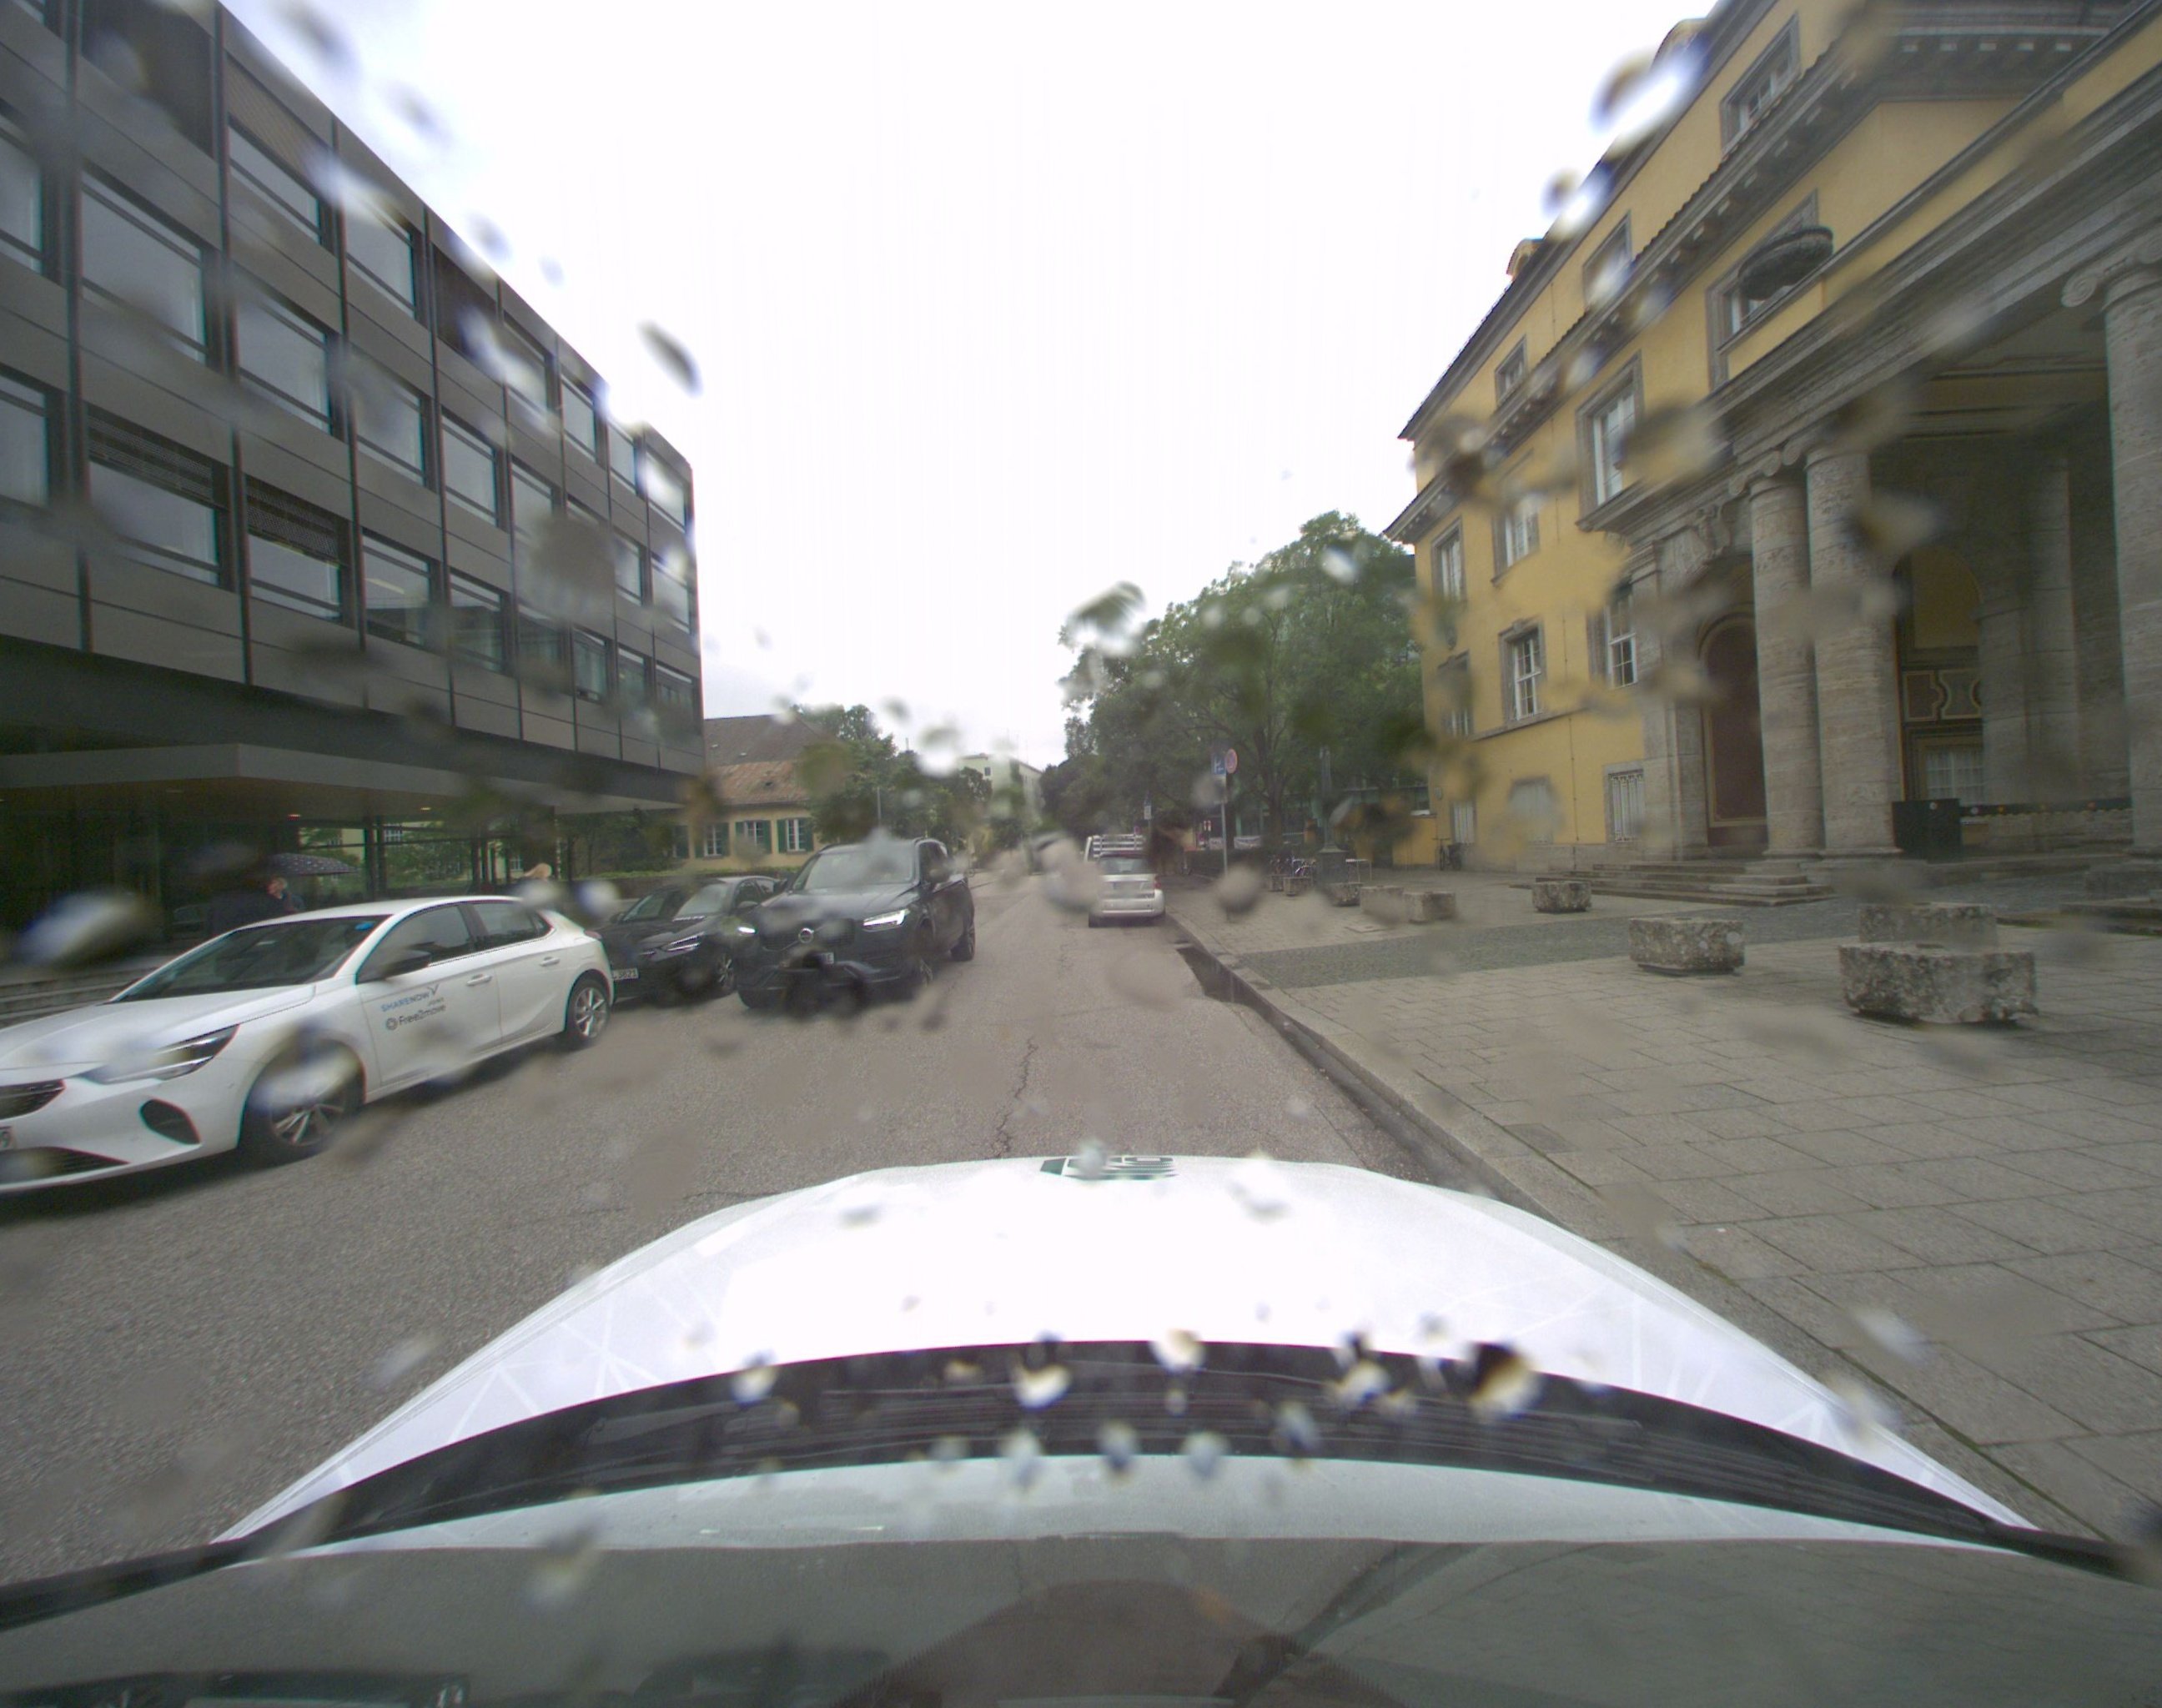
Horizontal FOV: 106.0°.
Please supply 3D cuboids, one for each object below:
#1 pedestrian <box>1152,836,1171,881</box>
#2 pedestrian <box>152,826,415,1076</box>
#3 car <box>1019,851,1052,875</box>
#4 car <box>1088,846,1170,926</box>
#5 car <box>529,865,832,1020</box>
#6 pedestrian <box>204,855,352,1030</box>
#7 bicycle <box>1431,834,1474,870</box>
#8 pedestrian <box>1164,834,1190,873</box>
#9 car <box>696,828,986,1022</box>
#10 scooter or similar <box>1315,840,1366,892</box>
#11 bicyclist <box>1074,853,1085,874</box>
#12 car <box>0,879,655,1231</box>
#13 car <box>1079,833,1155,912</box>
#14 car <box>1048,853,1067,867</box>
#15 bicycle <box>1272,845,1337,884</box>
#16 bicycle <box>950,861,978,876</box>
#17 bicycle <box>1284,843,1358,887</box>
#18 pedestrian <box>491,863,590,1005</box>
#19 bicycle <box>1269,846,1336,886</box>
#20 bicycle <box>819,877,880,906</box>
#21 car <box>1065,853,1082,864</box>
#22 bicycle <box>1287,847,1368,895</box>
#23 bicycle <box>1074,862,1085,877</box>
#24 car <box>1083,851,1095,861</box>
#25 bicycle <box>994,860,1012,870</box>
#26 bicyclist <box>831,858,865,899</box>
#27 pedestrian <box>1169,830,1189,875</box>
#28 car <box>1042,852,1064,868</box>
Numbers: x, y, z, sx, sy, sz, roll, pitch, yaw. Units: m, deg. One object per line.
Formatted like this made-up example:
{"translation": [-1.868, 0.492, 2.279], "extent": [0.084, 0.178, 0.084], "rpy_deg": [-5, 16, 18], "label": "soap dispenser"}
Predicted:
{"translation": [4.008, 0.222, 40.576], "extent": [0.740, 2.134, 1.056], "rpy_deg": [-4, 0, 0], "label": "pedestrian"}
{"translation": [-7.155, 0.807, 7.406], "extent": [1.131, 2.054, 1.221], "rpy_deg": [-2, 0, 0], "label": "pedestrian"}
{"translation": [-3.493, 0.653, 62.878], "extent": [2.017, 1.689, 4.679], "rpy_deg": [-4, 0, 2], "label": "car"}
{"translation": [0.973, 0.628, 17.617], "extent": [1.600, 1.546, 2.934], "rpy_deg": [-1, 0, 1], "label": "car"}
{"translation": [-5.012, 0.993, 10.978], "extent": [1.733, 1.461, 4.239], "rpy_deg": [-5, 0, 2], "label": "car"}
{"translation": [-8.521, 0.902, 8.685], "extent": [0.687, 1.752, 0.892], "rpy_deg": [-1, -1, -4], "label": "pedestrian"}
{"translation": [12.646, -0.079, 27.757], "extent": [0.540, 1.154, 1.901], "rpy_deg": [-4, 1, 0], "label": "bicycle"}
{"translation": [4.901, -0.011, 41.498], "extent": [0.735, 1.907, 1.063], "rpy_deg": [-4, 0, 36], "label": "pedestrian"}
{"translation": [-2.578, 0.668, 10.221], "extent": [1.953, 1.681, 4.912], "rpy_deg": [-5, 0, 1], "label": "car"}
{"translation": [6.429, 0.296, 20.175], "extent": [0.541, 1.222, 0.999], "rpy_deg": [-4, 0, -45], "label": "scooter or similar"}
{"translation": [-0.113, 0.624, 53.949], "extent": [0.702, 1.393, 0.868], "rpy_deg": [0, -1, 2], "label": "bicyclist"}
{"translation": [-5.173, 1.051, 5.942], "extent": [1.676, 1.440, 4.280], "rpy_deg": [-6, 0, 1], "label": "car"}
{"translation": [0.888, 0.451, 22.717], "extent": [1.839, 1.933, 5.271], "rpy_deg": [0, 0, 0], "label": "car"}
{"translation": [-2.780, 0.744, 98.147], "extent": [1.986, 1.603, 4.002], "rpy_deg": [-3, -1, 2], "label": "car"}
{"translation": [7.261, 0.343, 26.518], "extent": [1.924, 1.113, 0.471], "rpy_deg": [-4, 0, 2], "label": "bicycle"}
{"translation": [-8.780, 1.113, 61.094], "extent": [1.922, 1.099, 0.615], "rpy_deg": [-1, 0, 3], "label": "bicycle"}
{"translation": [6.890, 0.301, 23.416], "extent": [1.924, 1.113, 0.471], "rpy_deg": [-4, 0, 2], "label": "bicycle"}
{"translation": [-7.106, 1.007, 10.760], "extent": [0.754, 1.749, 0.948], "rpy_deg": [-3, 0, -15], "label": "pedestrian"}
{"translation": [6.984, 0.367, 25.728], "extent": [1.924, 1.113, 0.471], "rpy_deg": [-4, 0, 2], "label": "bicycle"}
{"translation": [-8.898, 1.434, 31.365], "extent": [2.131, 1.004, 0.622], "rpy_deg": [-3, -1, -7], "label": "bicycle"}
{"translation": [-1.097, 0.634, 115.993], "extent": [1.984, 1.486, 4.006], "rpy_deg": [-3, 0, 5], "label": "car"}
{"translation": [6.489, 0.438, 21.466], "extent": [1.927, 1.113, 0.471], "rpy_deg": [-4, 0, -3], "label": "bicycle"}
{"translation": [-0.108, 1.020, 53.987], "extent": [0.624, 0.955, 1.861], "rpy_deg": [0, -1, 2], "label": "bicycle"}
{"translation": [1.457, 0.363, 147.329], "extent": [1.803, 1.683, 4.003], "rpy_deg": [-3, 0, 3], "label": "car"}
{"translation": [-7.704, 1.053, 80.143], "extent": [1.621, 0.926, 0.646], "rpy_deg": [-3, -2, -24], "label": "bicycle"}
{"translation": [-8.968, 0.955, 31.342], "extent": [1.091, 1.497, 0.672], "rpy_deg": [-3, -2, -8], "label": "bicyclist"}
{"translation": [4.855, -0.064, 40.241], "extent": [0.740, 2.134, 1.056], "rpy_deg": [-4, 0, 0], "label": "pedestrian"}
{"translation": [-3.148, 0.631, 93.067], "extent": [1.985, 1.648, 4.660], "rpy_deg": [-3, 0, 3], "label": "car"}
